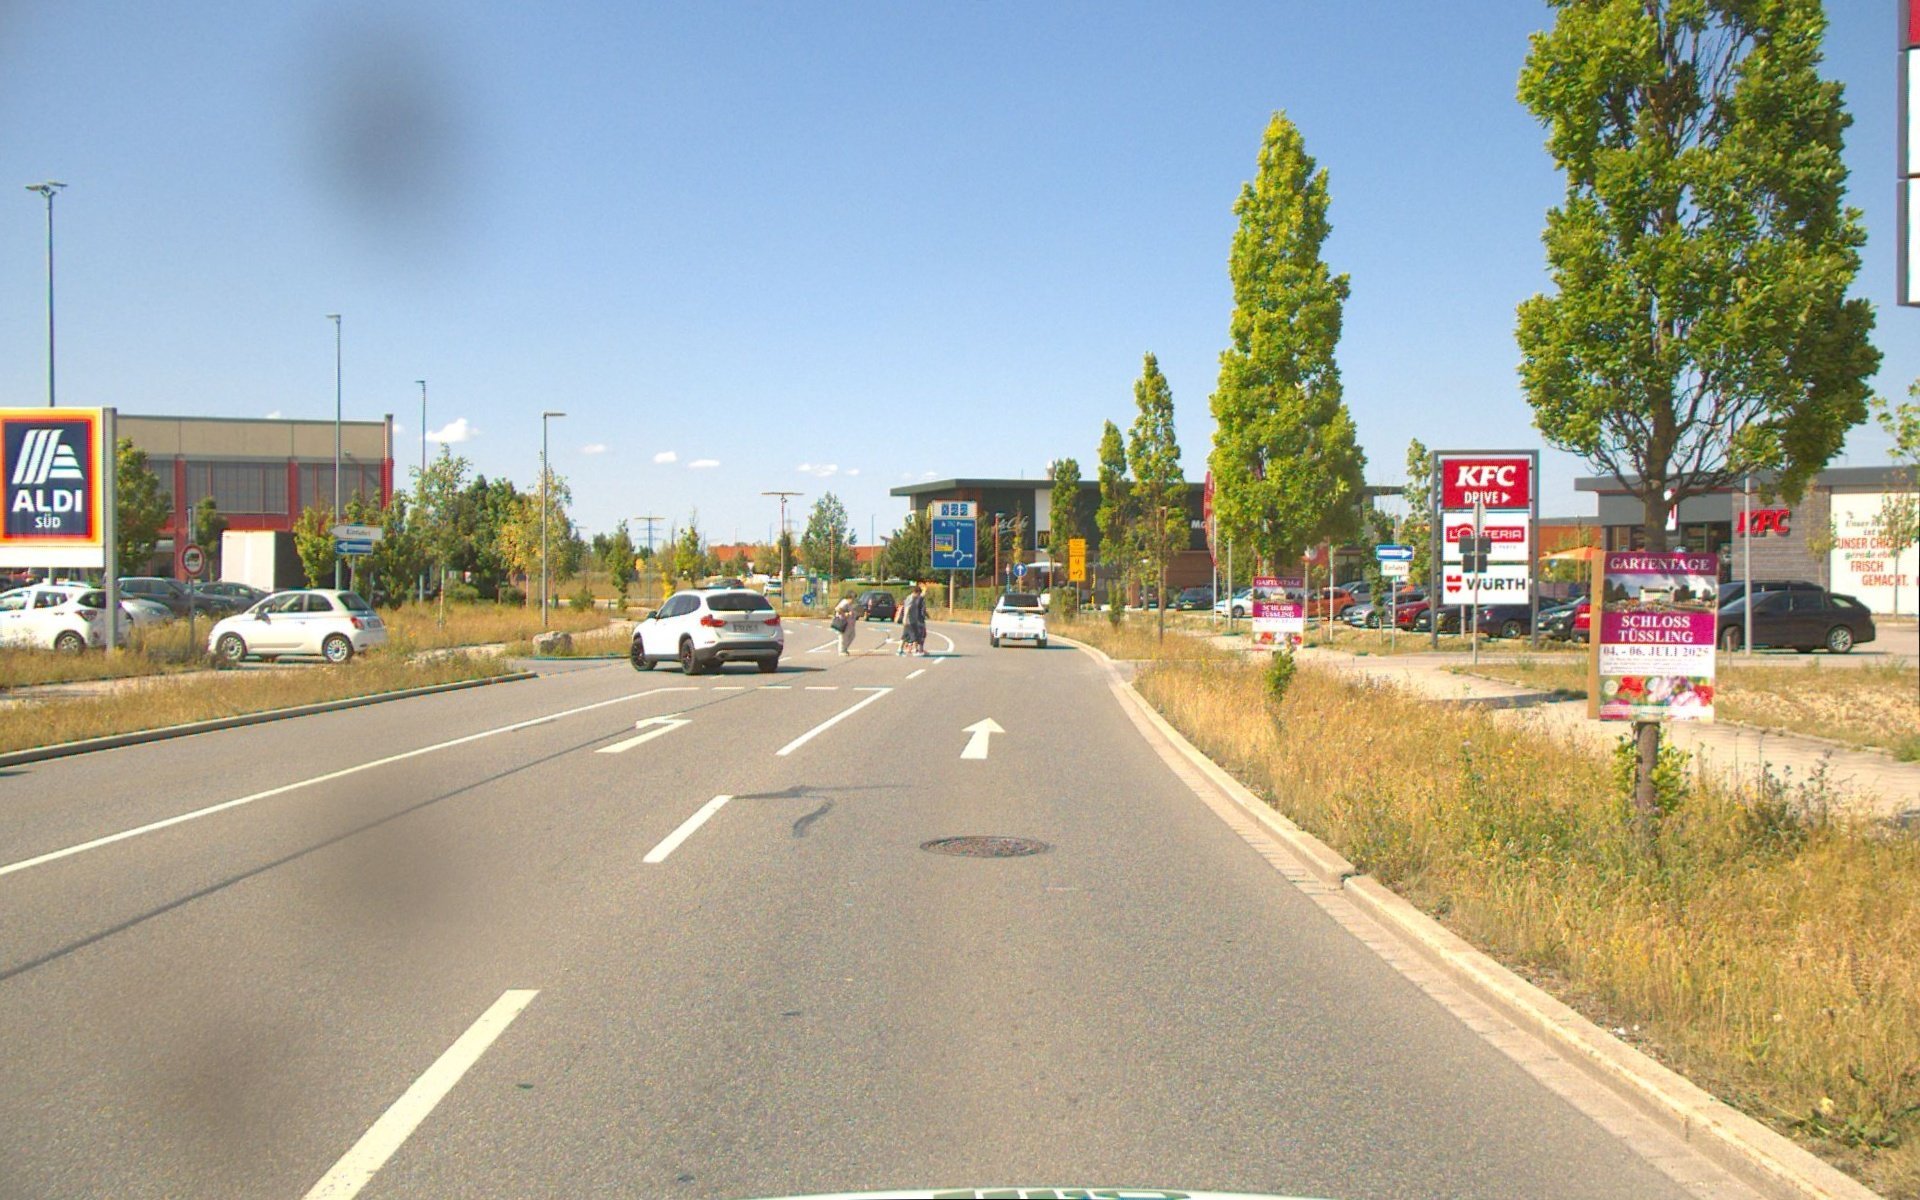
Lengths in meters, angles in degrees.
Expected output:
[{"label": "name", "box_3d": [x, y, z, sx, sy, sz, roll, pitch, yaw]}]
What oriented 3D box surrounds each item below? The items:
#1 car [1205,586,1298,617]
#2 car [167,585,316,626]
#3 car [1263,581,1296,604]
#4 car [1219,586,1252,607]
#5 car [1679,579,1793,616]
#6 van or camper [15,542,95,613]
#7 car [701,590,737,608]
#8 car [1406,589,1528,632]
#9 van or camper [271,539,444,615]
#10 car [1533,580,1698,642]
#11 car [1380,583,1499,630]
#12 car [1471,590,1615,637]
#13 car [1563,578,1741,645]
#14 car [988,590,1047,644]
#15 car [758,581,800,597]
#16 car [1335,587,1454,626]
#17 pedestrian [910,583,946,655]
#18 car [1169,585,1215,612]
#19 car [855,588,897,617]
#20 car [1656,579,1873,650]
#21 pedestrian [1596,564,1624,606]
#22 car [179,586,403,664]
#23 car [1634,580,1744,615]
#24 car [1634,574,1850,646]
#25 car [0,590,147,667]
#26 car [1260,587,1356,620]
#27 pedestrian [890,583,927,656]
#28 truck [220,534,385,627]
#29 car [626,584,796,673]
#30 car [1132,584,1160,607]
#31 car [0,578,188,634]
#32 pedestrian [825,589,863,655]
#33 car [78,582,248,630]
[{"label": "car", "box_3d": [15.311, 0.056, 86.826, 4.448, 1.516, 1.862, -1, 1, -14]}, {"label": "car", "box_3d": [-25.071, 0.181, 57.816, 4.337, 1.407, 1.973, 0, 0, -5]}, {"label": "car", "box_3d": [24.210, -0.582, 125.245, 1.756, 1.731, 4.001, -1, 0, 21]}, {"label": "car", "box_3d": [20.583, -0.297, 123.317, 1.755, 1.539, 4.001, -1, 0, 20]}, {"label": "car", "box_3d": [33.446, -0.121, 71.299, 4.490, 1.456, 1.857, -1, 1, -21]}, {"label": "van or camper", "box_3d": [-44.616, -1.070, 81.710, 2.394, 3.328, 7.193, 0, 0, -20]}, {"label": "car", "box_3d": [-20.462, -0.128, 140.603, 1.951, 1.465, 4.004, 0, 1, 9]}, {"label": "car", "box_3d": [19.218, 0.385, 62.689, 4.081, 1.474, 1.786, -1, 1, -12]}, {"label": "van or camper", "box_3d": [-28.818, -1.092, 79.428, 7.564, 3.529, 2.545, 0, 0, -15]}, {"label": "car", "box_3d": [19.875, 0.315, 50.269, 4.317, 1.765, 1.790, -1, 1, -2]}, {"label": "car", "box_3d": [18.825, 0.239, 65.034, 4.074, 1.694, 1.866, -1, 1, -6]}, {"label": "car", "box_3d": [19.150, 0.442, 54.533, 4.312, 1.474, 1.793, -1, 1, 14]}, {"label": "car", "box_3d": [19.614, 0.315, 47.000, 4.314, 1.765, 1.792, -1, 1, 1]}, {"label": "car", "box_3d": [1.598, 0.445, 46.567, 1.583, 1.459, 3.793, 0, 0, 1]}, {"label": "car", "box_3d": [-17.410, -1.037, 159.349, 1.959, 1.489, 3.988, 0, 1, 34]}, {"label": "car", "box_3d": [18.275, 0.260, 69.644, 4.472, 1.516, 1.865, -1, 1, -10]}, {"label": "pedestrian", "box_3d": [-0.739, 0.440, 38.581, 0.784, 1.658, 0.805, 1, 0, 1]}, {"label": "car", "box_3d": [13.653, -0.102, 97.145, 1.662, 1.487, 4.168, 0, 0, 22]}, {"label": "car", "box_3d": [-4.435, 0.114, 86.985, 1.588, 1.459, 3.780, 0, 0, -13]}, {"label": "car", "box_3d": [19.420, 0.325, 40.023, 4.319, 1.594, 1.993, -1, 1, -5]}, {"label": "pedestrian", "box_3d": [32.029, -0.718, 81.493, 0.898, 2.049, 0.887, 0, 0, -17]}, {"label": "car", "box_3d": [-13.975, 0.506, 34.685, 3.902, 1.574, 1.919, 0, 0, 5]}, {"label": "car", "box_3d": [32.458, -0.130, 73.625, 4.490, 1.456, 1.857, -1, 1, -21]}, {"label": "car", "box_3d": [20.790, 0.239, 44.084, 4.884, 1.765, 1.938, -1, 1, -5]}, {"label": "car", "box_3d": [-19.681, 0.583, 35.080, 3.903, 1.574, 1.918, 0, 0, 3]}, {"label": "car", "box_3d": [16.729, 0.158, 79.460, 4.132, 1.516, 1.862, -1, 1, -14]}, {"label": "pedestrian", "box_3d": [-1.188, 0.448, 37.989, 0.792, 1.657, 0.866, 1, 0, 1]}, {"label": "truck", "box_3d": [-26.355, -0.771, 66.718, 2.267, 3.525, 7.500, 0, 0, 13]}, {"label": "car", "box_3d": [-4.844, 0.490, 31.684, 1.891, 1.574, 4.185, 0, 0, -29]}, {"label": "car", "box_3d": [13.692, -0.342, 121.345, 1.754, 1.632, 4.004, -1, 0, 10]}, {"label": "car", "box_3d": [-24.793, 0.160, 47.317, 4.516, 1.538, 1.836, 0, 0, -5]}, {"label": "pedestrian", "box_3d": [-2.648, 0.495, 37.956, 0.776, 1.496, 0.949, 1, 0, 1]}, {"label": "car", "box_3d": [-25.244, 0.180, 52.512, 4.486, 1.484, 1.836, 0, 0, -5]}]
